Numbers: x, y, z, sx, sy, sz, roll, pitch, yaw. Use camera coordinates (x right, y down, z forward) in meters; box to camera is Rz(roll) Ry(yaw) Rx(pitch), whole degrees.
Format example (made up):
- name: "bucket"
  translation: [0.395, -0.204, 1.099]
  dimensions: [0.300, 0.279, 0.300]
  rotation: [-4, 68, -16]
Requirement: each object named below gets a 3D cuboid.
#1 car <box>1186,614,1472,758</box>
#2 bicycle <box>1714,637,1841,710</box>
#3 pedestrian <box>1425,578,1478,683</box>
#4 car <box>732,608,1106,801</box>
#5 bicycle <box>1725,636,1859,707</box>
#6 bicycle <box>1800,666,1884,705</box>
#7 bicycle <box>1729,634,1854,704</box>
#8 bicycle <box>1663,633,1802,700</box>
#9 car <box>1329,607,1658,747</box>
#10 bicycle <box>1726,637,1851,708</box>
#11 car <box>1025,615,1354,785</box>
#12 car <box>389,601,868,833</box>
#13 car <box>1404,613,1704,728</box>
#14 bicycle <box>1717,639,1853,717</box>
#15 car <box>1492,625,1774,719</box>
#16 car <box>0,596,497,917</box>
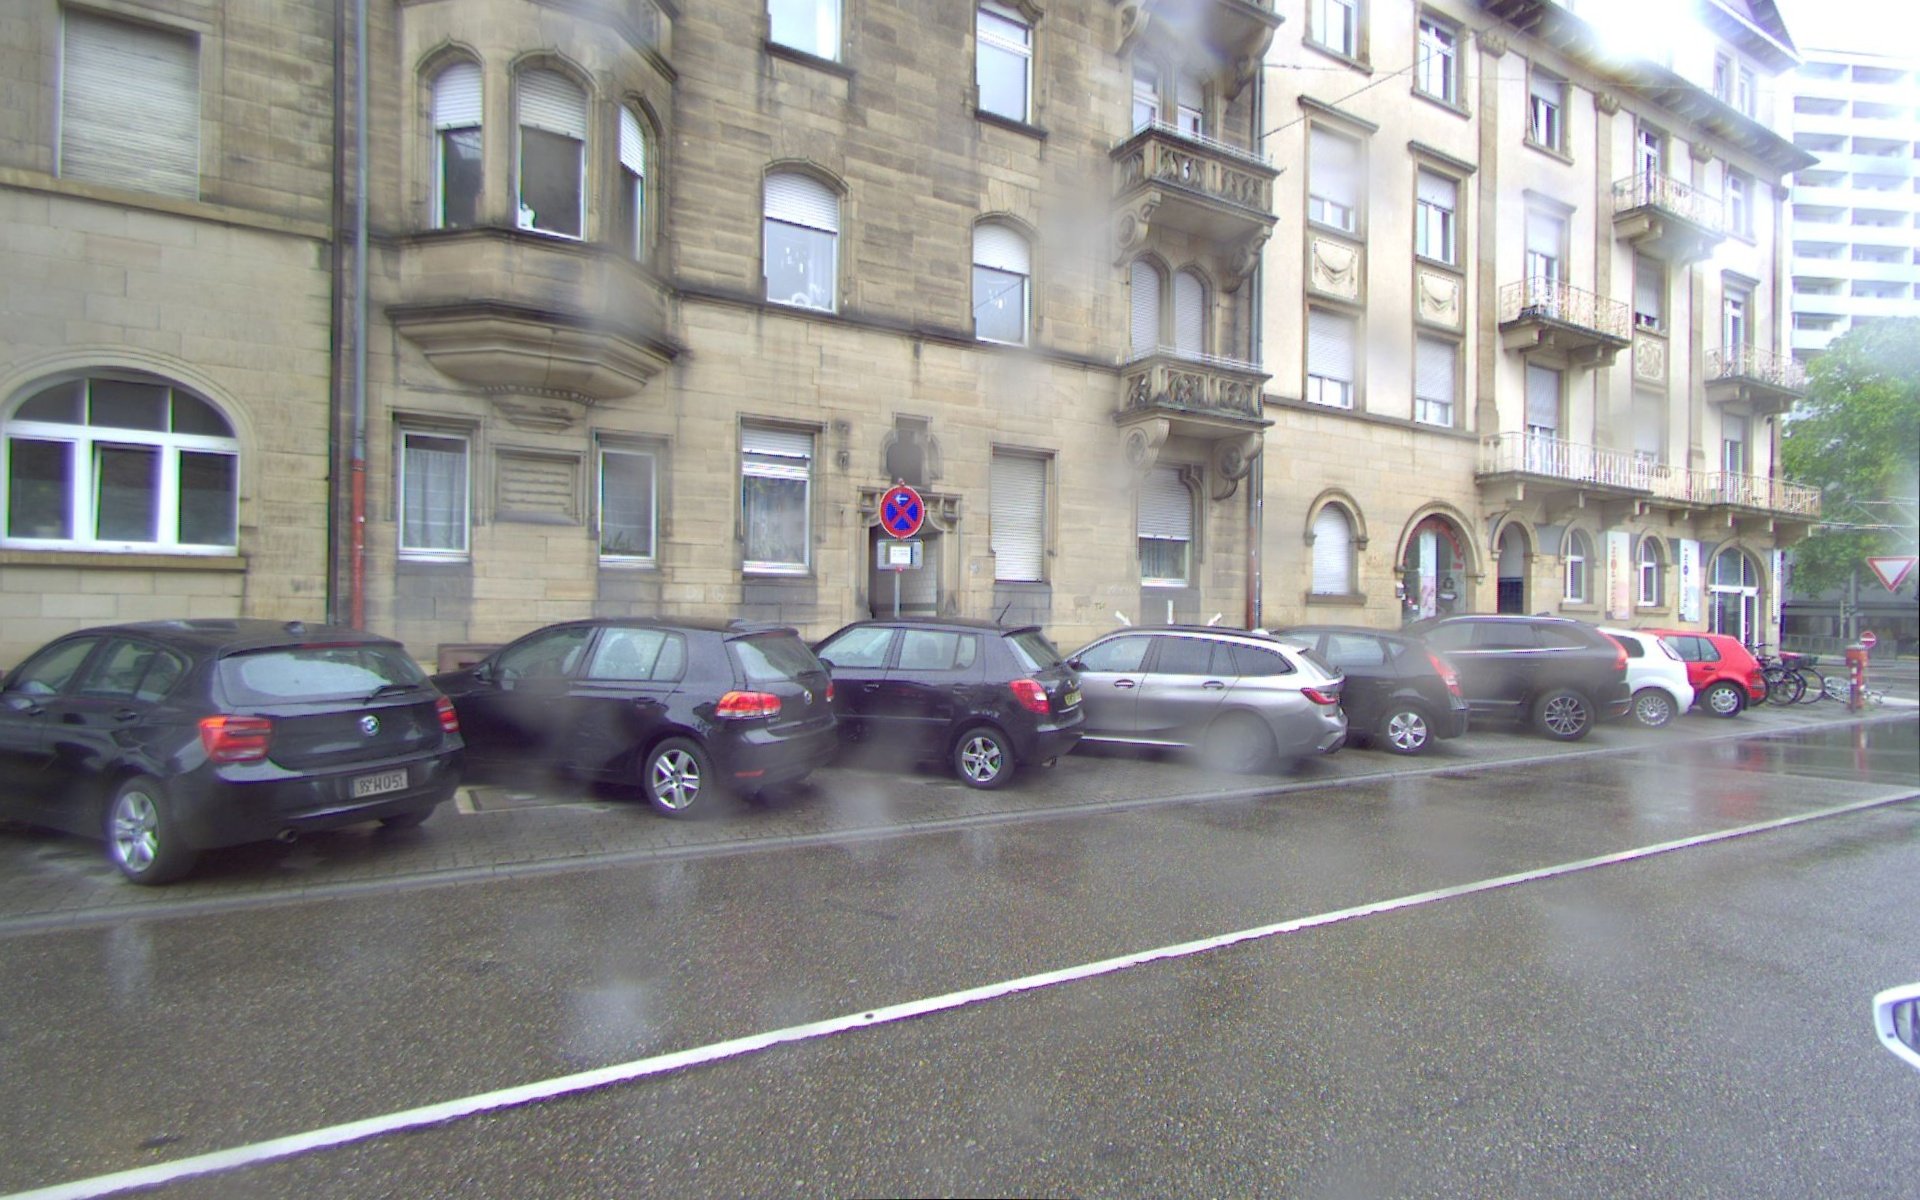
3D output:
- name: "car"
  translation: [4.738, 1.022, 13.073]
  dimensions: [3.246, 1.546, 1.700]
  rotation: [2, 1, 22]
- name: "bicycle"
  translation: [15.837, 1.389, 19.507]
  dimensions: [0.469, 1.200, 1.800]
  rotation: [1, 3, -31]
- name: "pedestrian"
  translation: [11.279, 0.704, 23.065]
  dimensions: [0.750, 2.371, 0.847]
  rotation: [1, -1, -8]
- name: "car"
  translation: [-0.411, 0.919, 10.136]
  dimensions: [3.378, 1.565, 1.627]
  rotation: [2, 1, 24]
- name: "bicycle"
  translation: [16.643, 1.406, 20.154]
  dimensions: [0.470, 1.200, 1.968]
  rotation: [1, 2, -32]
- name: "bicycle"
  translation: [18.529, 1.786, 21.144]
  dimensions: [1.024, 0.672, 1.476]
  rotation: [3, 0, 29]
- name: "bicycle"
  translation: [17.017, 1.388, 20.625]
  dimensions: [0.432, 1.347, 1.969]
  rotation: [1, -1, -27]
- name: "bicycle"
  translation: [16.835, 1.421, 21.962]
  dimensions: [0.634, 1.364, 2.326]
  rotation: [1, -1, -34]
- name: "car"
  translation: [7.575, 1.021, 14.722]
  dimensions: [4.005, 1.715, 1.764]
  rotation: [2, 1, 21]
- name: "bicycle"
  translation: [16.274, 1.403, 19.778]
  dimensions: [0.463, 1.200, 1.800]
  rotation: [1, 2, -31]
- name: "car"
  translation: [2.611, 1.013, 11.354]
  dimensions: [3.362, 1.565, 1.701]
  rotation: [2, 1, 21]
- name: "car"
  translation: [-2.825, 0.844, 8.632]
  dimensions: [3.685, 1.565, 1.628]
  rotation: [2, 1, 20]
- name: "car"
  translation: [9.445, 1.061, 16.343]
  dimensions: [3.916, 1.554, 1.704]
  rotation: [2, 1, 21]
- name: "bicycle"
  translation: [15.162, 1.409, 18.516]
  dimensions: [0.592, 1.201, 1.805]
  rotation: [1, 3, -24]
- name: "car"
  translation: [11.909, 1.221, 18.109]
  dimensions: [3.922, 1.528, 1.803]
  rotation: [0, -2, 22]
- name: "car"
  translation: [-5.151, 0.799, 6.735]
  dimensions: [3.657, 1.565, 1.777]
  rotation: [2, 1, 25]
